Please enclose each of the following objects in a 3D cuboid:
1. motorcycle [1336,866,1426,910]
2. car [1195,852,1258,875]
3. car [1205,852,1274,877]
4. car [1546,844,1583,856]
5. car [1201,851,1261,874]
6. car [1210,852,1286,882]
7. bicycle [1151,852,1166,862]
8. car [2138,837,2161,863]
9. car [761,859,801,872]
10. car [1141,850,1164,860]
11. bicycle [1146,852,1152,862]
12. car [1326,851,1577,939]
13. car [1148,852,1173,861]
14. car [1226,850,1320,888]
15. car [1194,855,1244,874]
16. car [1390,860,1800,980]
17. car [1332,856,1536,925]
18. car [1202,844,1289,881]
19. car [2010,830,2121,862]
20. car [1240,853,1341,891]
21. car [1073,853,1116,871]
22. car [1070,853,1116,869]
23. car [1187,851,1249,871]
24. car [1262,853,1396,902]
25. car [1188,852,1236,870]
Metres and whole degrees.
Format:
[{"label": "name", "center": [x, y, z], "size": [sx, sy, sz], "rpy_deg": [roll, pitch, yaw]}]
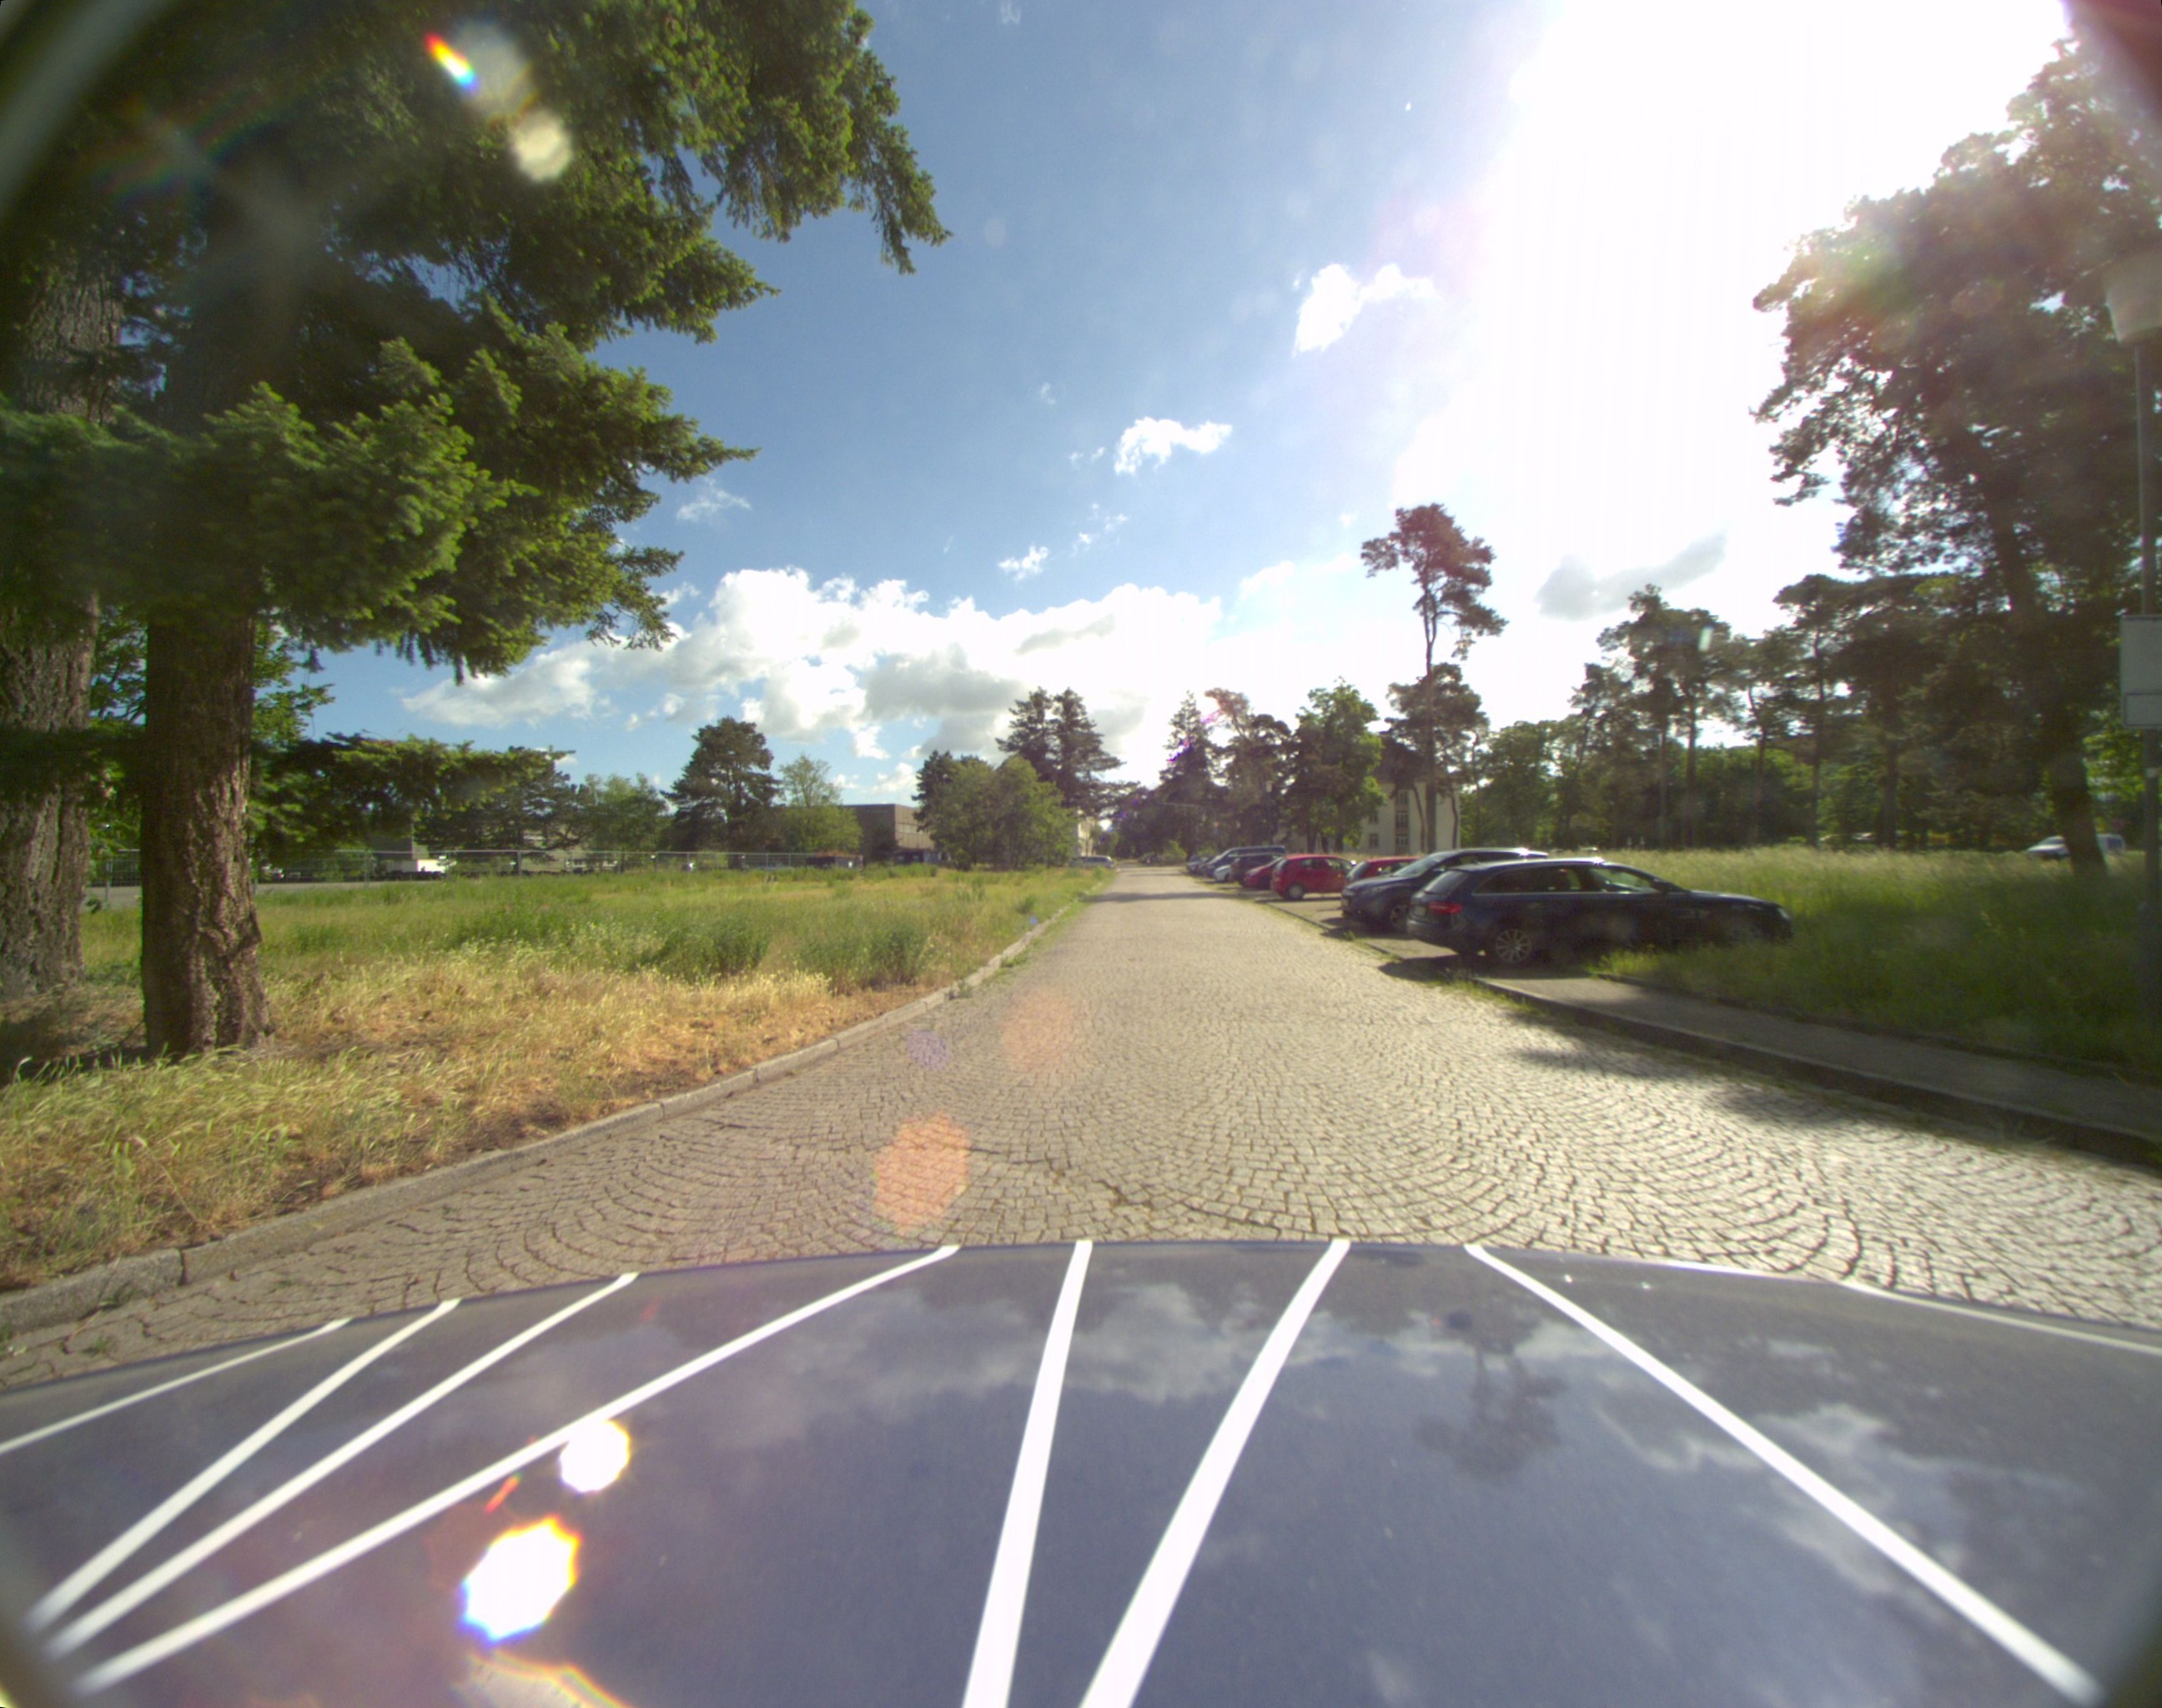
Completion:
[{"label": "motorcycle", "center": [8.338, 0.947, 21.157], "size": [2.247, 1.155, 0.577], "rpy_deg": [-2, 1, 6]}, {"label": "car", "center": [10.114, 0.629, 53.056], "size": [4.085, 1.417, 1.924], "rpy_deg": [-2, 0, 6]}, {"label": "car", "center": [10.432, 0.687, 50.140], "size": [4.205, 1.466, 1.824], "rpy_deg": [-2, 0, 4]}, {"label": "car", "center": [67.772, -0.527, 106.573], "size": [4.103, 1.571, 1.721], "rpy_deg": [-1, 1, 6]}, {"label": "car", "center": [10.981, 0.600, 55.883], "size": [4.085, 1.444, 1.822], "rpy_deg": [-2, 1, 6]}, {"label": "car", "center": [9.257, 0.707, 42.307], "size": [3.825, 1.432, 1.683], "rpy_deg": [-3, 1, 2]}, {"label": "bicycle", "center": [11.966, 0.434, 117.456], "size": [2.113, 1.276, 0.621], "rpy_deg": [-6, 1, 2]}, {"label": "car", "center": [68.535, -0.251, 46.643], "size": [4.237, 1.596, 1.913], "rpy_deg": [-1, 1, 5]}, {"label": "car", "center": [-35.212, 1.339, 89.191], "size": [3.996, 1.413, 1.746], "rpy_deg": [-1, -1, 4]}, {"label": "car", "center": [14.125, 0.248, 149.603], "size": [4.225, 1.903, 1.817], "rpy_deg": [-1, 1, -6]}, {"label": "bicycle", "center": [10.277, 0.429, 114.228], "size": [0.621, 1.342, 2.115], "rpy_deg": [-3, 0, 0]}, {"label": "car", "center": [7.337, 0.786, 15.423], "size": [4.144, 1.570, 1.885], "rpy_deg": [-2, 0, 4]}, {"label": "car", "center": [13.774, 0.447, 132.223], "size": [4.043, 1.514, 1.817], "rpy_deg": [-1, 1, -4]}, {"label": "car", "center": [9.013, 0.687, 35.970], "size": [3.962, 1.558, 1.974], "rpy_deg": [-3, 0, 3]}, {"label": "car", "center": [10.586, 0.806, 58.597], "size": [3.638, 1.227, 1.760], "rpy_deg": [-2, 1, 6]}, {"label": "car", "center": [6.918, 0.879, 10.713], "size": [4.368, 1.436, 1.922], "rpy_deg": [-2, 0, 7]}, {"label": "car", "center": [8.107, 0.818, 17.768], "size": [3.931, 1.424, 1.843], "rpy_deg": [-2, 0, 6]}, {"label": "car", "center": [9.622, 0.487, 44.847], "size": [4.728, 1.956, 2.006], "rpy_deg": [-3, 1, 4]}, {"label": "car", "center": [68.815, -0.578, 53.174], "size": [4.856, 2.151, 1.958], "rpy_deg": [-1, 1, 5]}, {"label": "car", "center": [9.096, 0.756, 33.224], "size": [3.932, 1.440, 1.867], "rpy_deg": [-3, 0, 3]}, {"label": "car", "center": [1.217, 0.685, 68.437], "size": [3.749, 1.468, 1.752], "rpy_deg": [2, 1, 3]}, {"label": "car", "center": [1.230, 0.689, 76.439], "size": [4.523, 1.456, 1.839], "rpy_deg": [1, 1, 2]}, {"label": "car", "center": [11.322, 0.563, 63.205], "size": [4.875, 1.413, 1.939], "rpy_deg": [-2, 1, 5]}, {"label": "car", "center": [8.284, 0.779, 25.664], "size": [3.932, 1.452, 1.842], "rpy_deg": [-2, 0, 3]}, {"label": "car", "center": [11.761, 0.611, 68.530], "size": [4.036, 1.474, 1.949], "rpy_deg": [-2, 0, 3]}]
